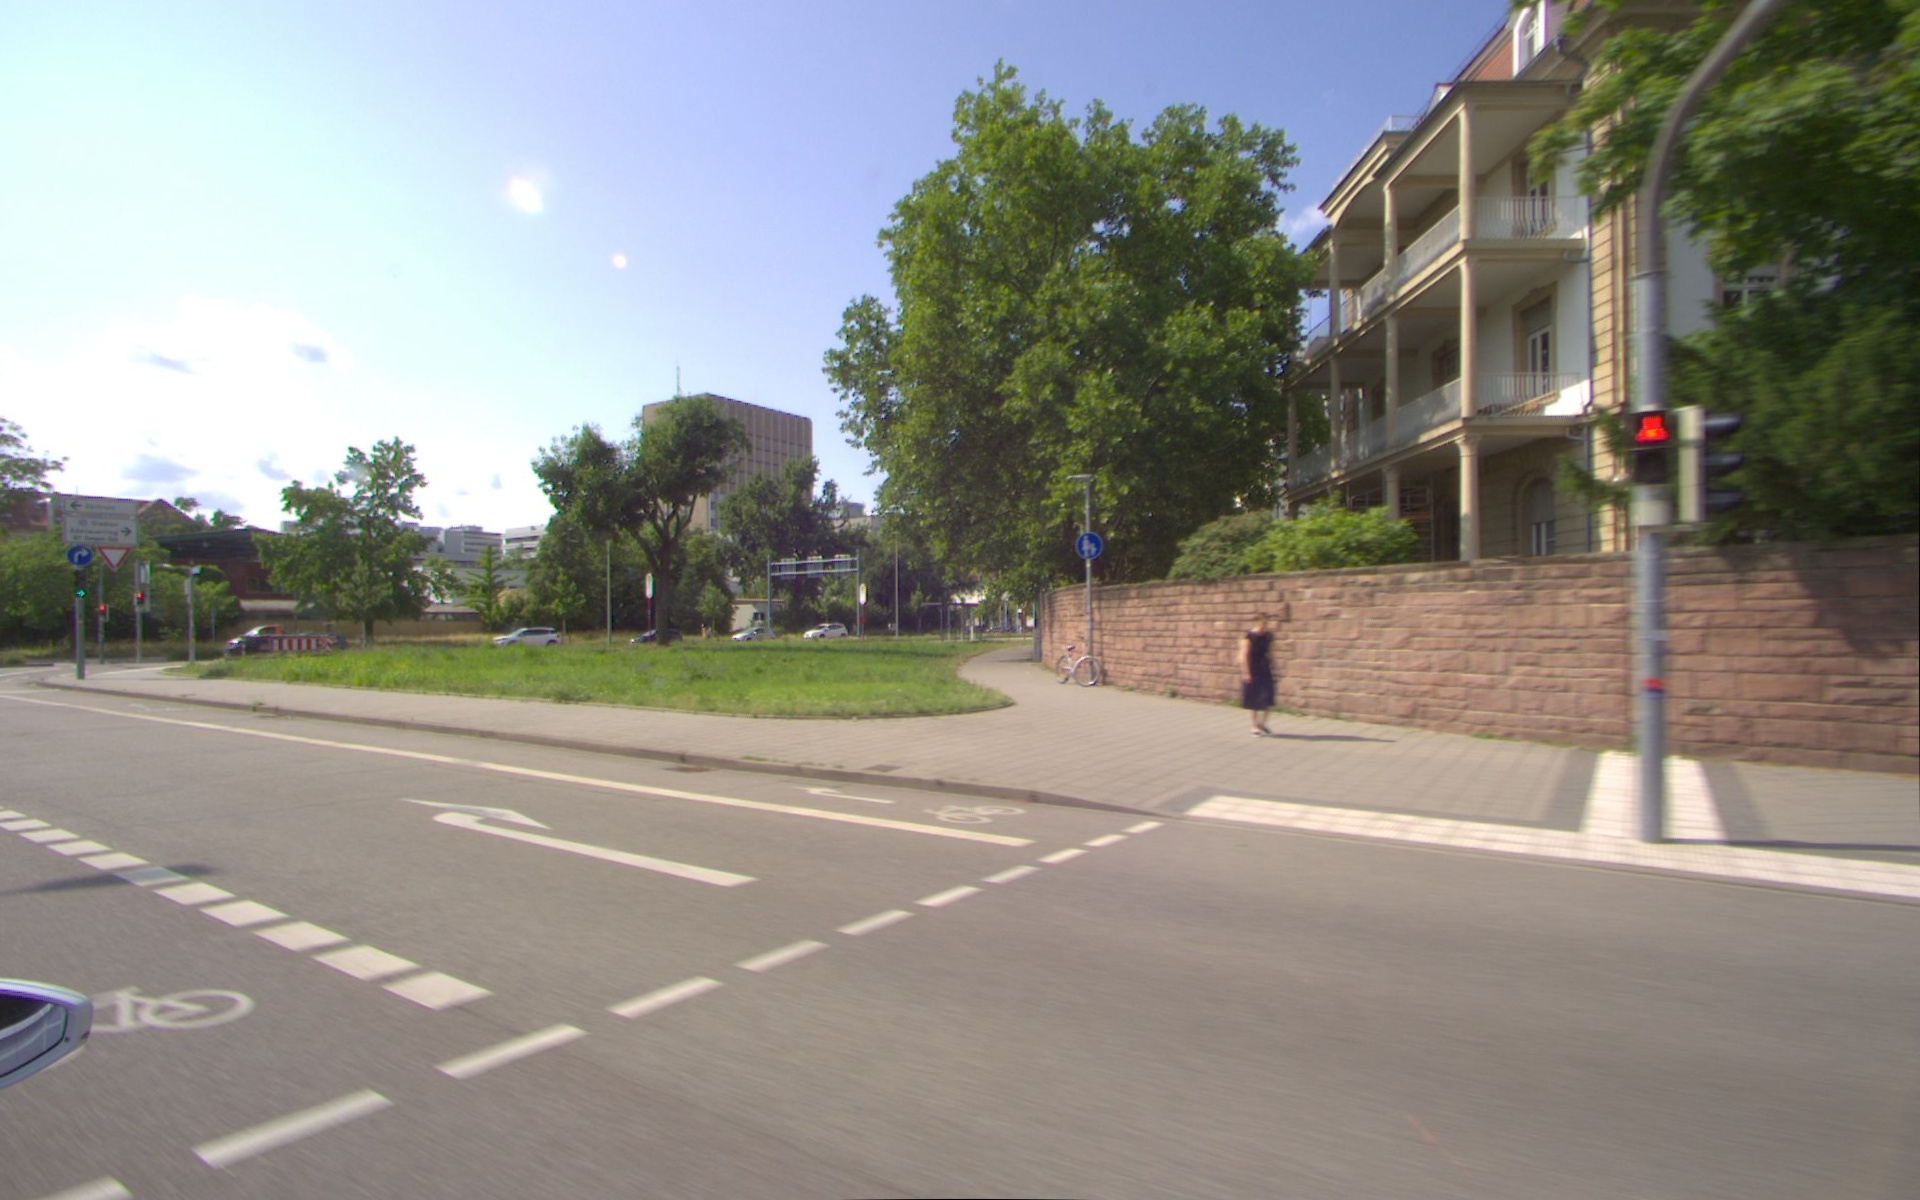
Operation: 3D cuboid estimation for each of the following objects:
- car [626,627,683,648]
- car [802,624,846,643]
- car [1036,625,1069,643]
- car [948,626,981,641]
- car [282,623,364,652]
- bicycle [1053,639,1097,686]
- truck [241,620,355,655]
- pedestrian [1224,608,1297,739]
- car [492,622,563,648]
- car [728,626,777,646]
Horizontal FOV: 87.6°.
[{"bbox_3d":[-22.832,2.781,74.855,1.606,1.437,3.897,-1,-1,38],"label":"car"},{"bbox_3d":[-12.109,2.984,89.331,1.606,1.630,3.993,-1,-1,38],"label":"car"},{"bbox_3d":[8.826,3.247,94.858,1.602,1.630,3.906,-1,-1,30],"label":"car"},{"bbox_3d":[0.527,3.701,110.739,1.606,1.630,3.993,-1,-1,38],"label":"car"},{"bbox_3d":[-38.206,2.225,60.123,1.609,1.630,3.890,-1,-1,43],"label":"car"},{"bbox_3d":[2.621,1.407,22.901,0.633,0.987,1.594,-2,-1,-6],"label":"bicycle"},{"bbox_3d":[-37.330,2.107,56.569,1.978,1.861,5.088,-1,-1,43],"label":"truck"},{"bbox_3d":[3.957,0.951,13.243,0.735,1.661,0.887,-1,0,4],"label":"pedestrian"},{"bbox_3d":[-28.758,2.324,66.663,1.606,1.630,4.136,-1,-1,38],"label":"car"},{"bbox_3d":[-17.155,2.966,82.812,1.606,1.630,3.896,-1,-1,39],"label":"car"}]
